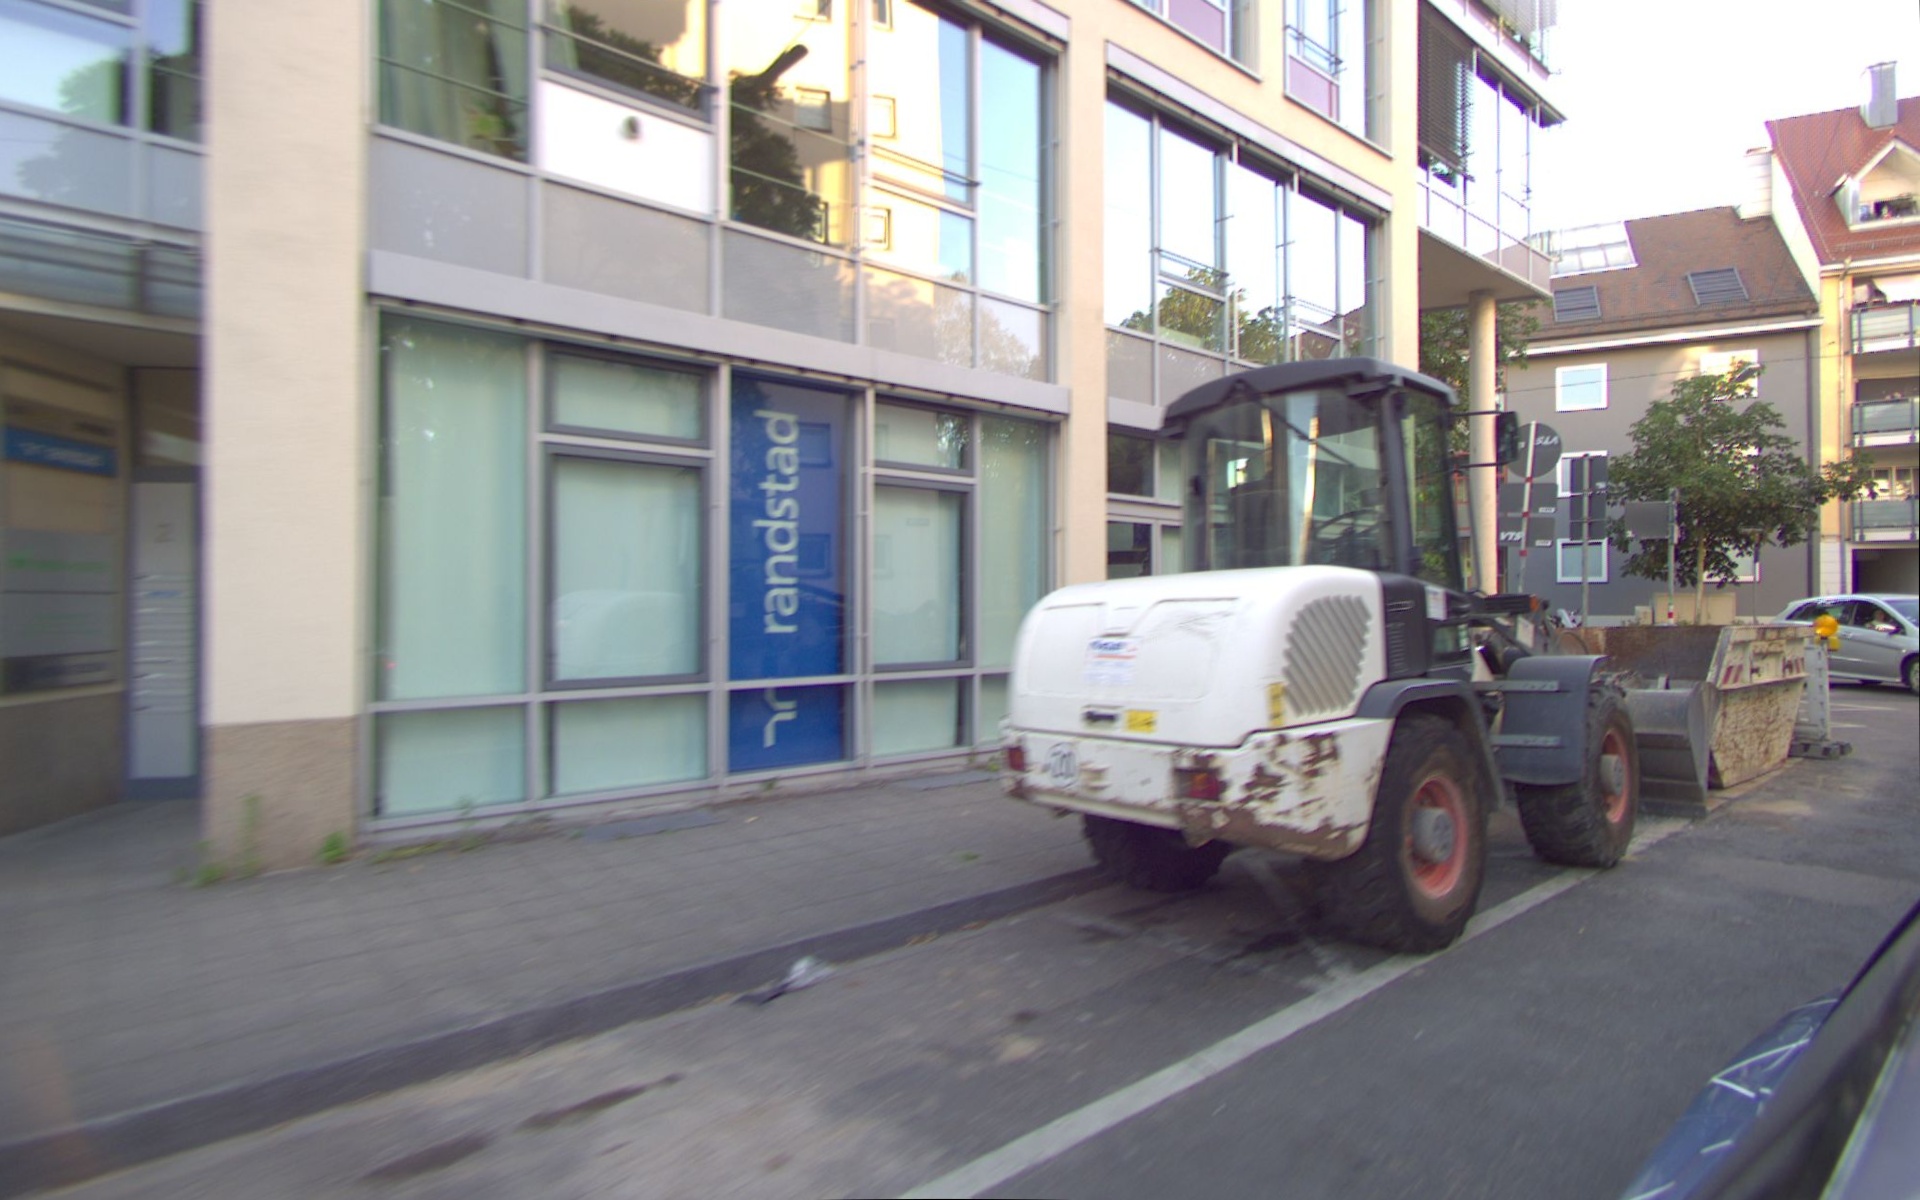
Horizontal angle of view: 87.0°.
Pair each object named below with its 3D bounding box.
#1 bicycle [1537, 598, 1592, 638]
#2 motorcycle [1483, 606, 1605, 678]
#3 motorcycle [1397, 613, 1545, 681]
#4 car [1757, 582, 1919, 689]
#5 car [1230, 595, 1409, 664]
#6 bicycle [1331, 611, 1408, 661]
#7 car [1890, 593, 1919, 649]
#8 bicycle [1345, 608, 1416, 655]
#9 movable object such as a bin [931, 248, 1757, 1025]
[{"bbox_3d":[19.191,0.567,32.147,1.446,1.224,0.606,-1,1,29],"label":"bicycle"},{"bbox_3d":[12.044,0.839,20.972,0.783,1.413,2.212,1,-1,-20],"label":"motorcycle"},{"bbox_3d":[8.949,0.807,17.815,2.221,1.138,0.637,0,-1,19],"label":"motorcycle"},{"bbox_3d":[15.586,0.544,16.468,1.771,1.637,4.273,0,0,-1],"label":"car"},{"bbox_3d":[9.866,0.755,27.825,4.357,1.717,1.978,1,1,31],"label":"car"},{"bbox_3d":[8.905,0.767,22.024,1.517,1.054,0.372,-1,-1,27],"label":"bicycle"},{"bbox_3d":[26.399,0.610,26.639,1.731,1.420,4.208,1,3,27],"label":"car"},{"bbox_3d":[9.909,0.732,23.877,1.517,1.079,0.372,-1,-1,27],"label":"bicycle"},{"bbox_3d":[2.695,0.128,6.055,5.648,2.657,2.019,0,-2,-40],"label":"movable object such as a bin"}]
